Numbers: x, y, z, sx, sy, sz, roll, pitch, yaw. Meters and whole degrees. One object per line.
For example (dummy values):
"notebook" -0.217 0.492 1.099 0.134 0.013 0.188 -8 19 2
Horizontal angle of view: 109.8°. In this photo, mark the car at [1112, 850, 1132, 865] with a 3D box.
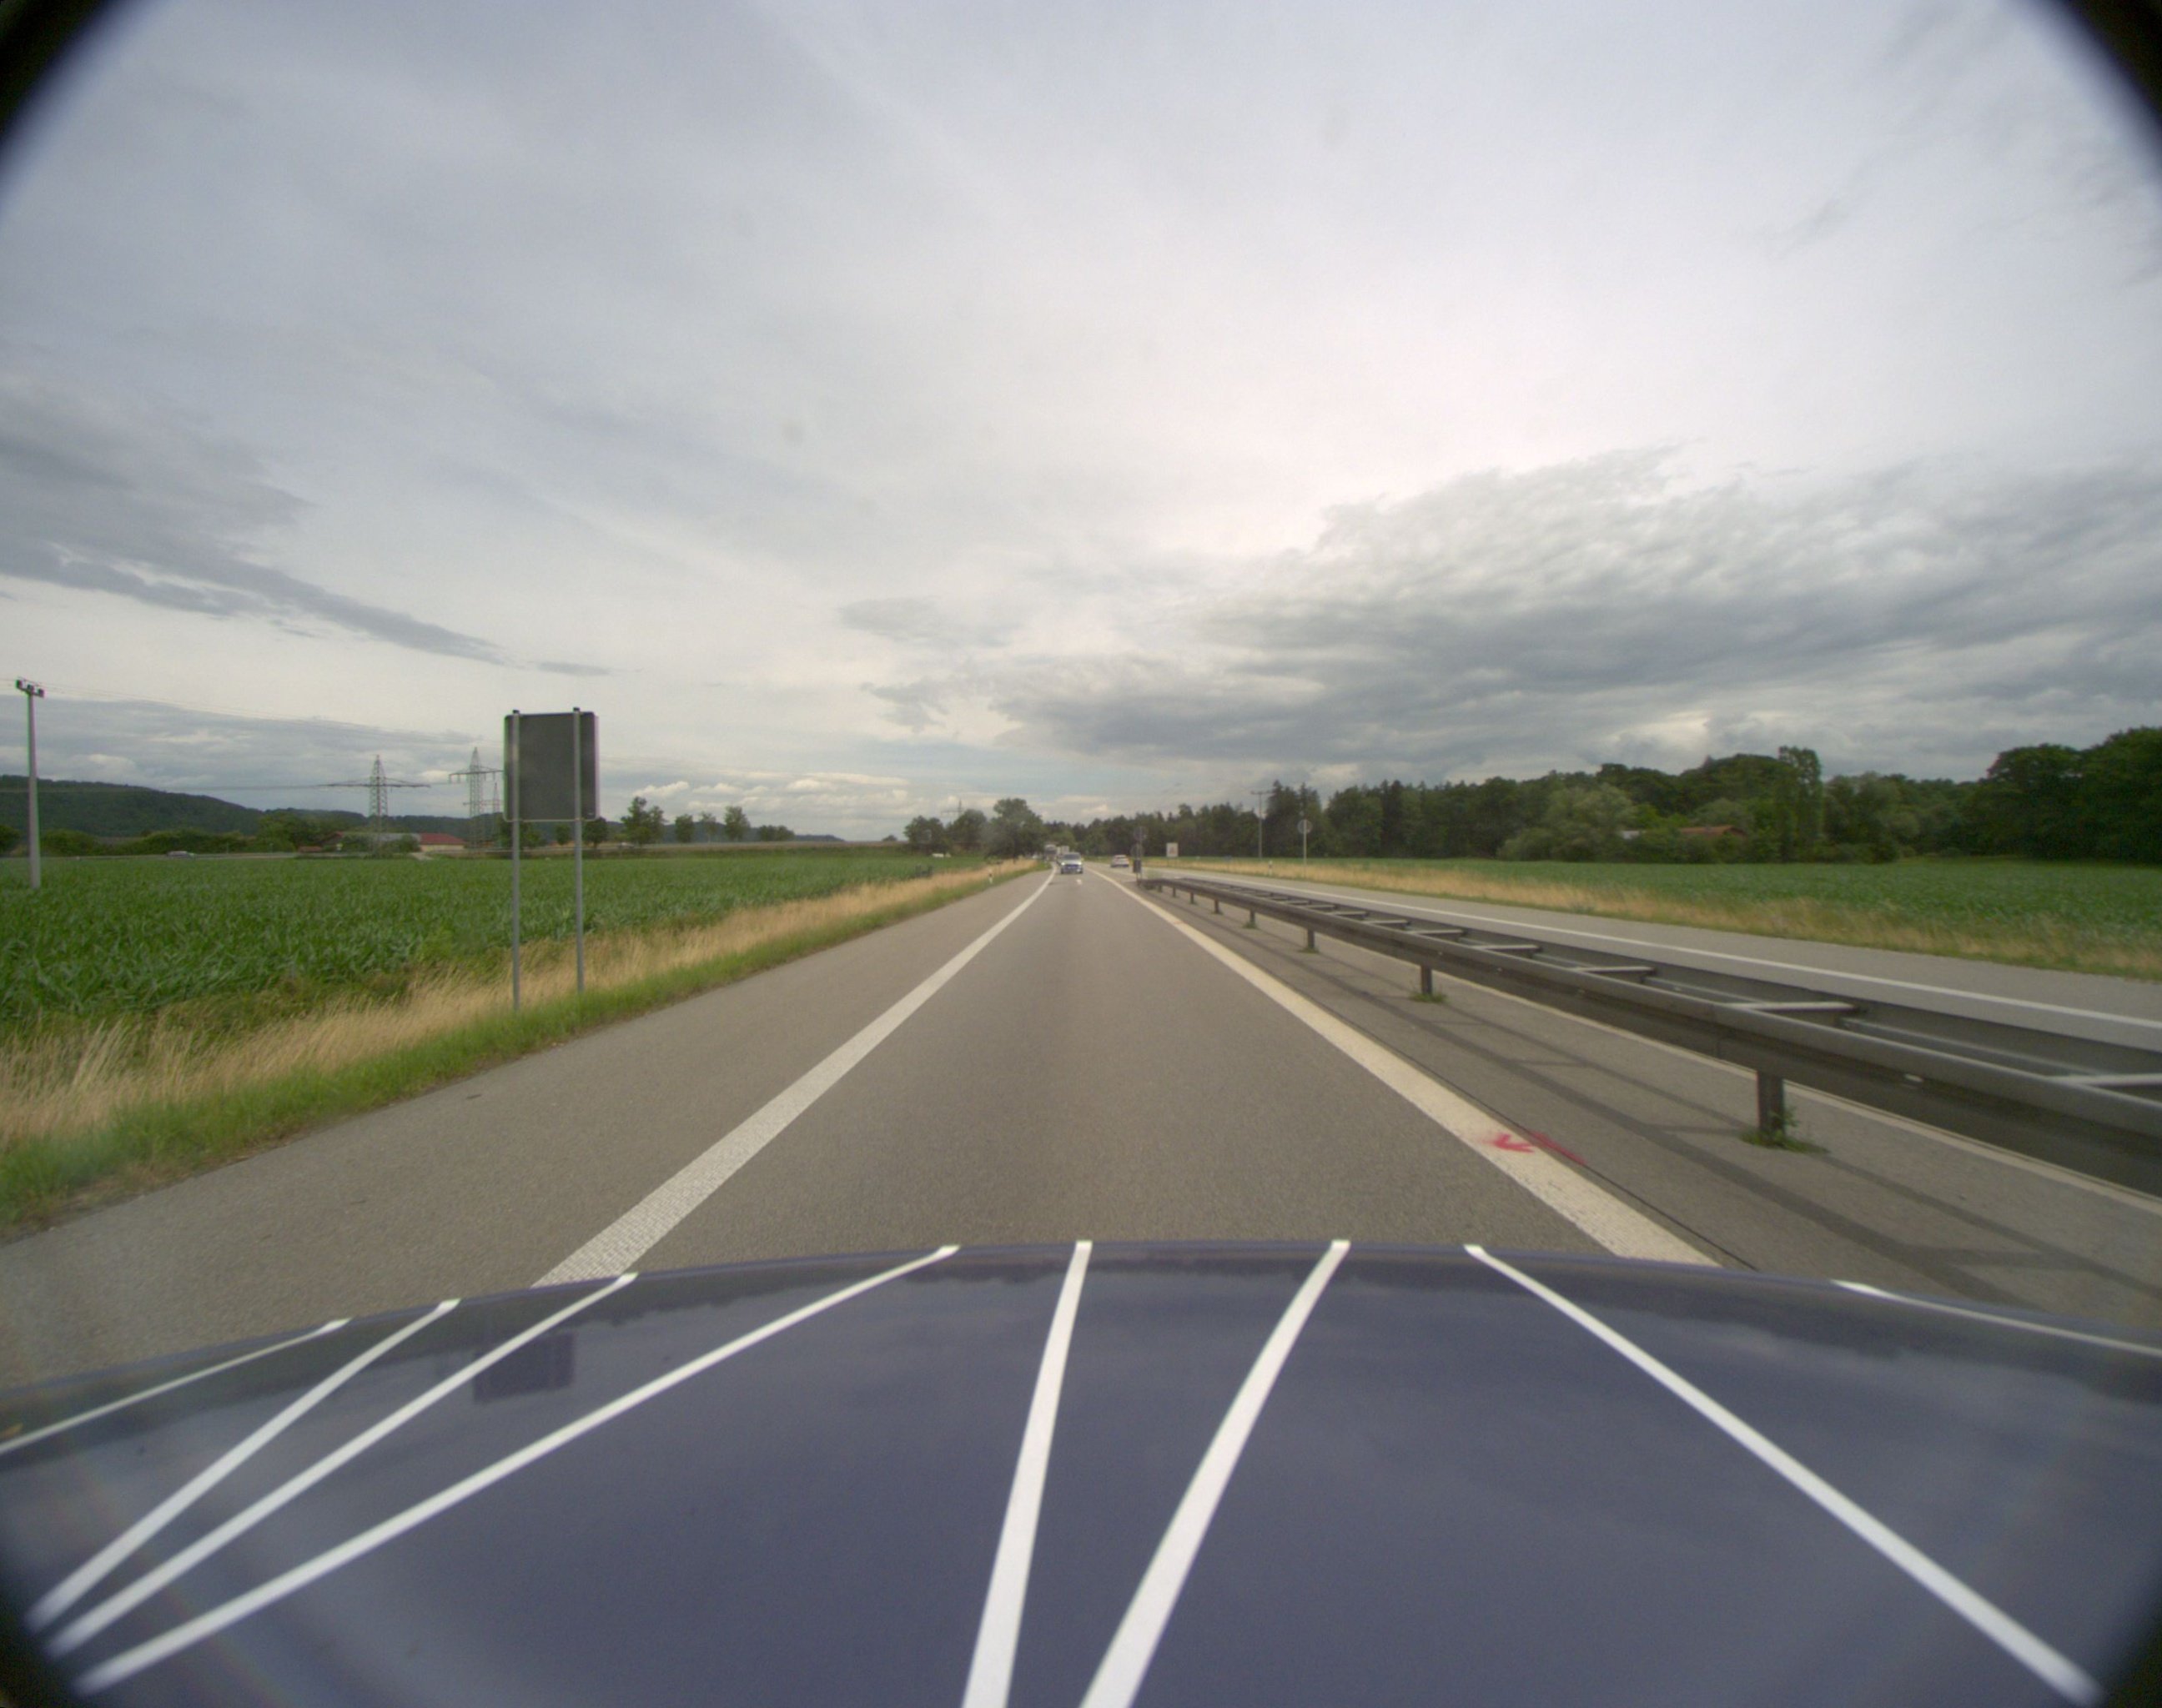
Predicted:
"car" 4.936 0.421 91.966 1.822 1.623 4.600 -2 1 -3

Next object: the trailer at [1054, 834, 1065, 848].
"trailer" -6.524 -3.797 229.634 2.497 3.972 13.069 -1 0 -5

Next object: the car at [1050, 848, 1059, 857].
"car" -6.598 -0.341 189.193 1.998 2.002 4.000 -2 1 2

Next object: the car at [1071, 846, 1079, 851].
"car" -1.692 -1.598 212.541 1.862 1.470 5.196 -2 1 -2

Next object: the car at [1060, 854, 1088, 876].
"car" -0.633 0.962 67.453 1.924 1.823 3.997 -2 1 -7
